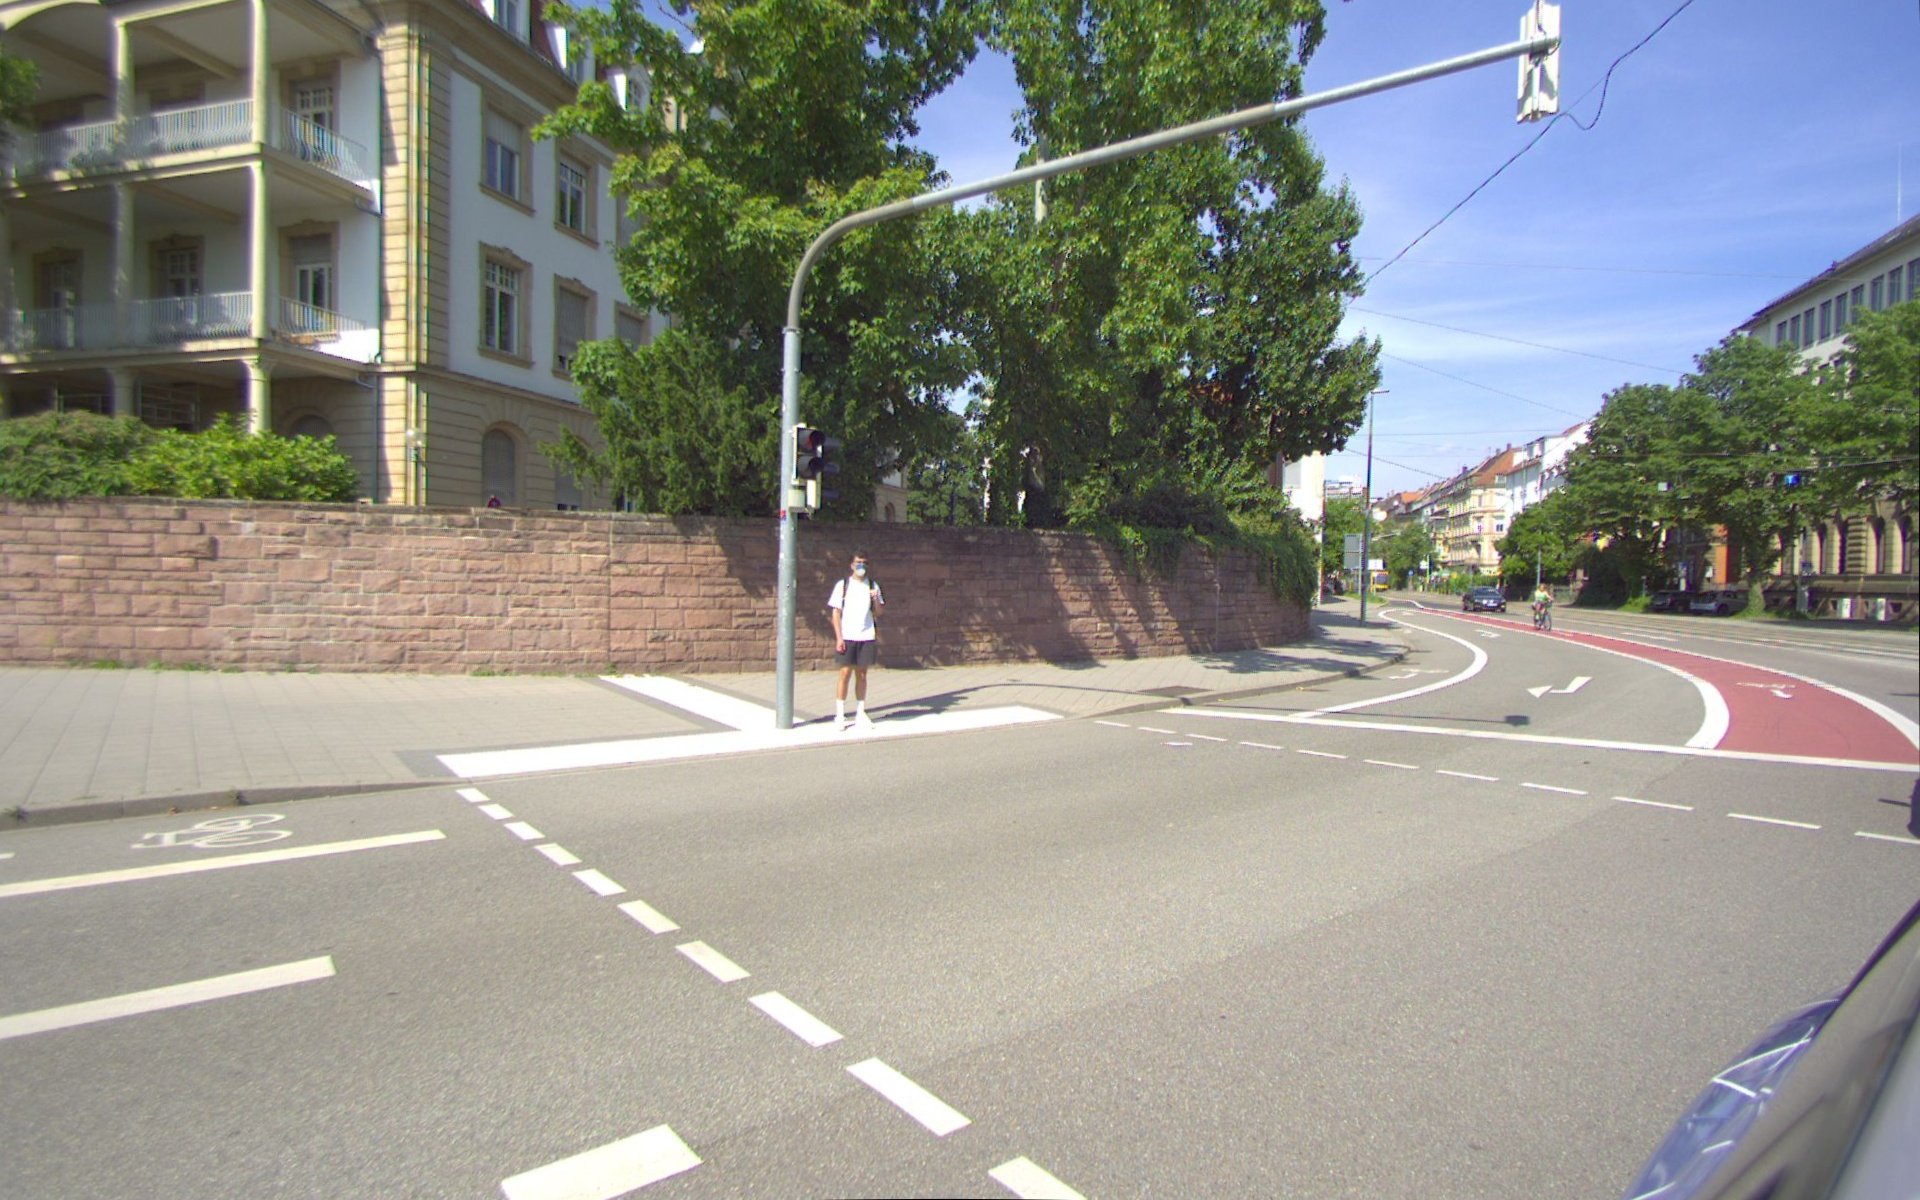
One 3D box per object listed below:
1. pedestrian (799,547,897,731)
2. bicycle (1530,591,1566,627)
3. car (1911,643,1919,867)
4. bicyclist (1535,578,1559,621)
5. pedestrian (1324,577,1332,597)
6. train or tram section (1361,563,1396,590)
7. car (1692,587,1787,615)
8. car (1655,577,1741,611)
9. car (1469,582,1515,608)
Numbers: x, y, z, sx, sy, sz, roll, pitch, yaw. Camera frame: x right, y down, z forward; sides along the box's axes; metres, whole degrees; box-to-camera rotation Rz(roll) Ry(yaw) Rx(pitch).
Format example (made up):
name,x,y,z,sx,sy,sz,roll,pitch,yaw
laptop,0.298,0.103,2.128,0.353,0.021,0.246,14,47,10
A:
name,x,y,z,sx,sy,sz,roll,pitch,yaw
pedestrian,-1.215,0.389,11.024,0.649,1.897,0.787,4,2,33
bicycle,21.669,0.326,37.332,0.677,1.237,2.174,2,2,18
car,7.548,0.687,6.460,4.747,1.537,1.861,-1,3,-44
bicyclist,21.663,-0.033,37.348,0.581,1.567,0.926,-1,0,19
pedestrian,29.558,-1.076,81.295,0.542,1.587,0.927,1,1,16
train or tram section,63.319,-3.528,153.322,3.171,3.908,14.515,2,2,16
car,46.439,0.015,60.365,3.944,1.482,1.991,2,2,16
car,47.837,-0.396,65.665,3.944,2.038,1.991,2,2,16
car,31.162,-0.329,59.367,1.781,1.393,4.249,1,2,20
